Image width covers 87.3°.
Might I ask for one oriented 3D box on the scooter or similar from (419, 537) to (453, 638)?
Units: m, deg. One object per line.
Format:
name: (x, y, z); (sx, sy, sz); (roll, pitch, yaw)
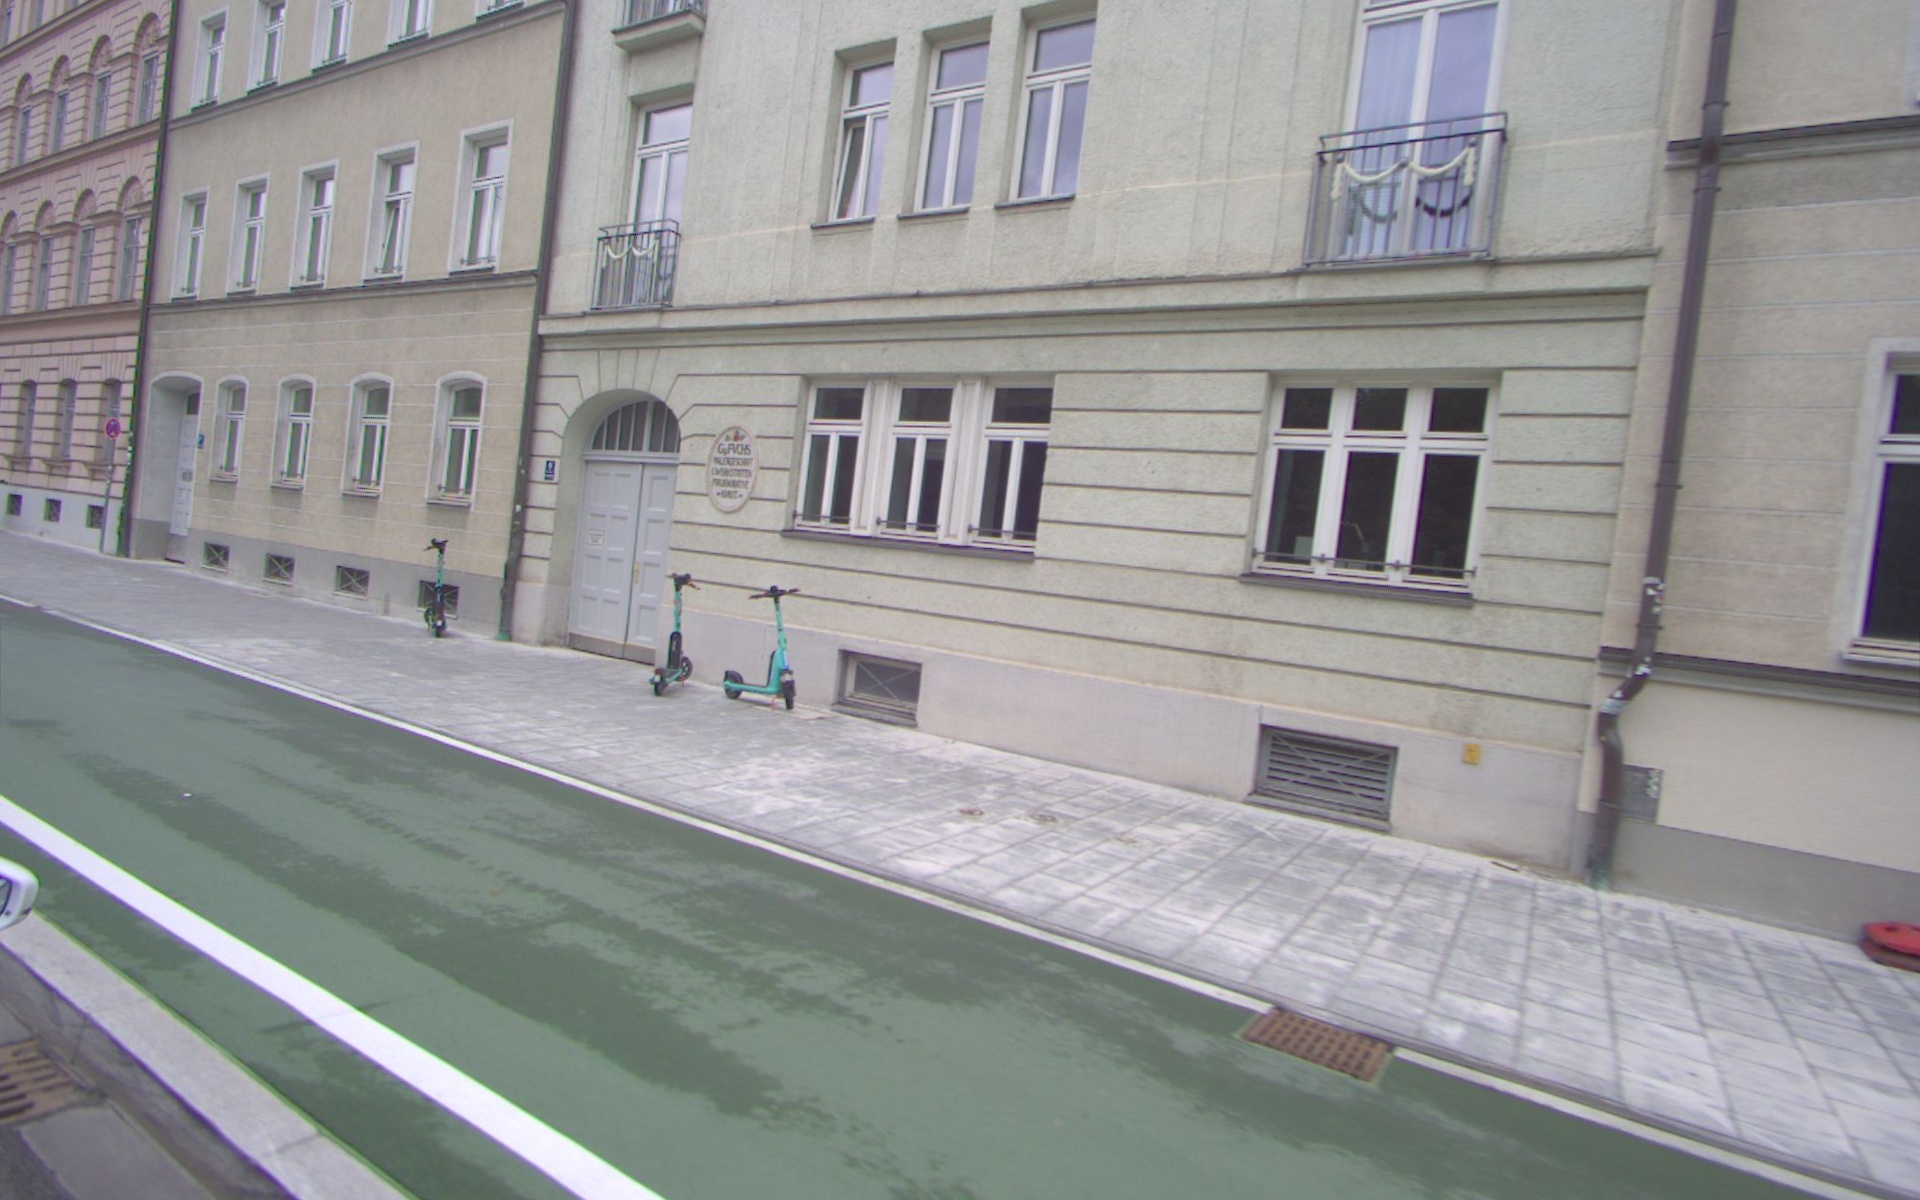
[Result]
scooter or similar: (-6.963, -0.182, 13.356); (0.244, 1.247, 1.109); (4, 3, -32)

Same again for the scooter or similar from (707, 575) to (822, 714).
scooter or similar: (-2.033, 0.445, 10.420); (1.101, 1.290, 0.387); (7, 3, 31)

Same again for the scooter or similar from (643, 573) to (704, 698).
scooter or similar: (-3.041, 0.344, 10.735); (0.242, 1.247, 1.118); (6, 2, -1)

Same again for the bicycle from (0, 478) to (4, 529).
bicycle: (-22.310, -2.221, 23.061); (0.424, 1.189, 1.711); (5, 2, -41)
